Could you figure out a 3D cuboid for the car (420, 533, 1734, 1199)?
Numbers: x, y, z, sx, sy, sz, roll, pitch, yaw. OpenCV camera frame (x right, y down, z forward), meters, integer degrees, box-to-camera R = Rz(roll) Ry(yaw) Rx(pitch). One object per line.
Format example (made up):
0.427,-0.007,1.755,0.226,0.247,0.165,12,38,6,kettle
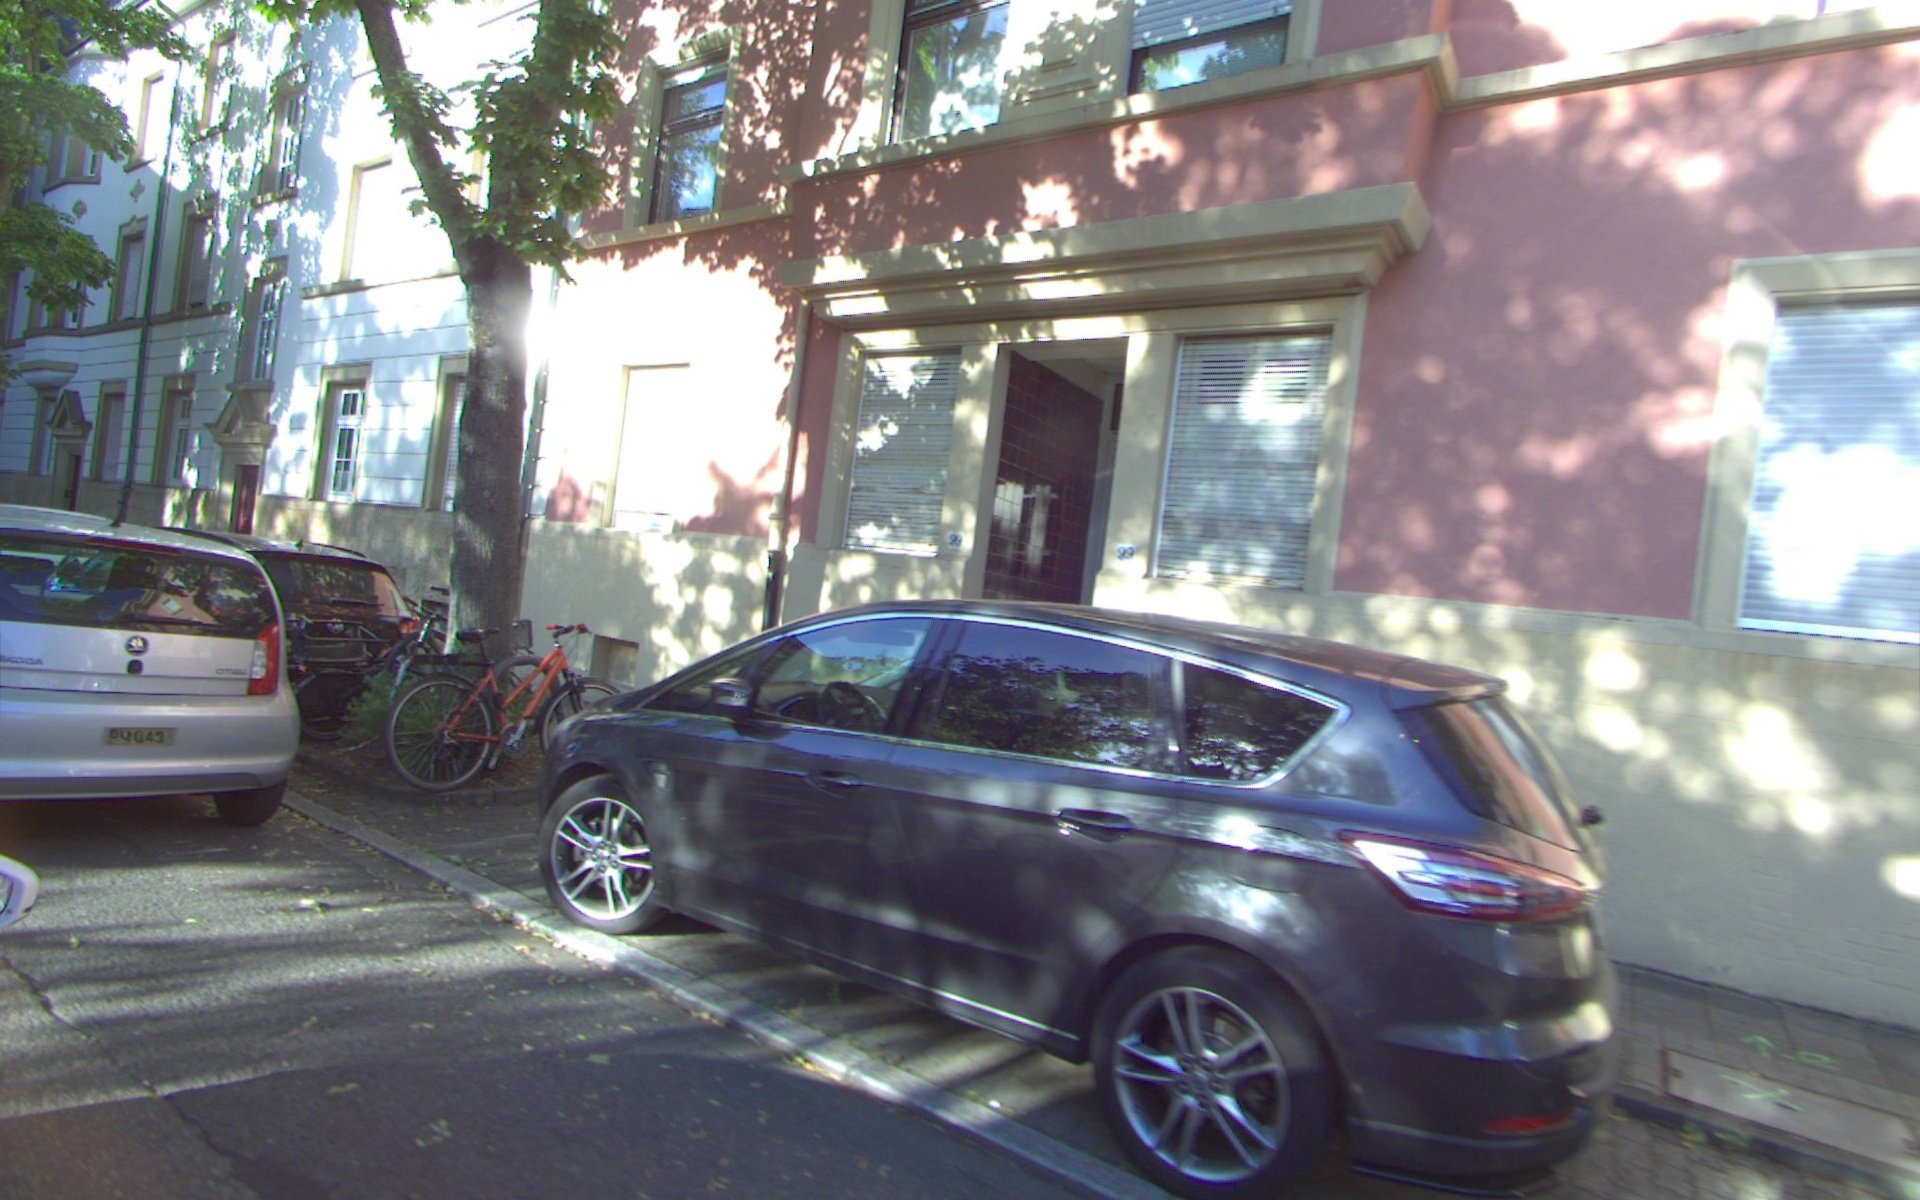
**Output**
0.029,0.854,4.278,4.864,1.737,1.887,7,-1,33,car

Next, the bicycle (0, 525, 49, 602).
-14.610,-0.600,14.572,0.590,1.086,1.969,7,1,35,bicycle

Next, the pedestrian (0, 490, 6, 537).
-21.049,-1.544,21.572,0.678,1.721,0.596,7,-1,36,pedestrian

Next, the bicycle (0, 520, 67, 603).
-15.501,-0.671,15.852,0.748,1.245,1.969,7,1,35,bicycle

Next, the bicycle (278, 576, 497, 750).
-4.159,0.467,7.392,0.322,1.154,1.308,7,0,34,bicycle

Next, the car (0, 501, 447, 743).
-6.732,0.124,8.984,4.388,1.531,1.789,7,-2,34,car

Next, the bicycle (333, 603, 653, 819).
-2.978,0.678,6.613,0.560,1.182,1.811,7,1,33,bicycle

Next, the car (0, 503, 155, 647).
-11.713,-0.412,12.506,3.689,1.506,1.597,6,0,35,car

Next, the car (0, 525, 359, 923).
-5.178,0.413,5.490,3.739,1.562,1.681,7,-2,34,car

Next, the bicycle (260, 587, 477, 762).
-4.048,0.516,6.957,0.293,1.089,1.201,7,0,34,bicycle
